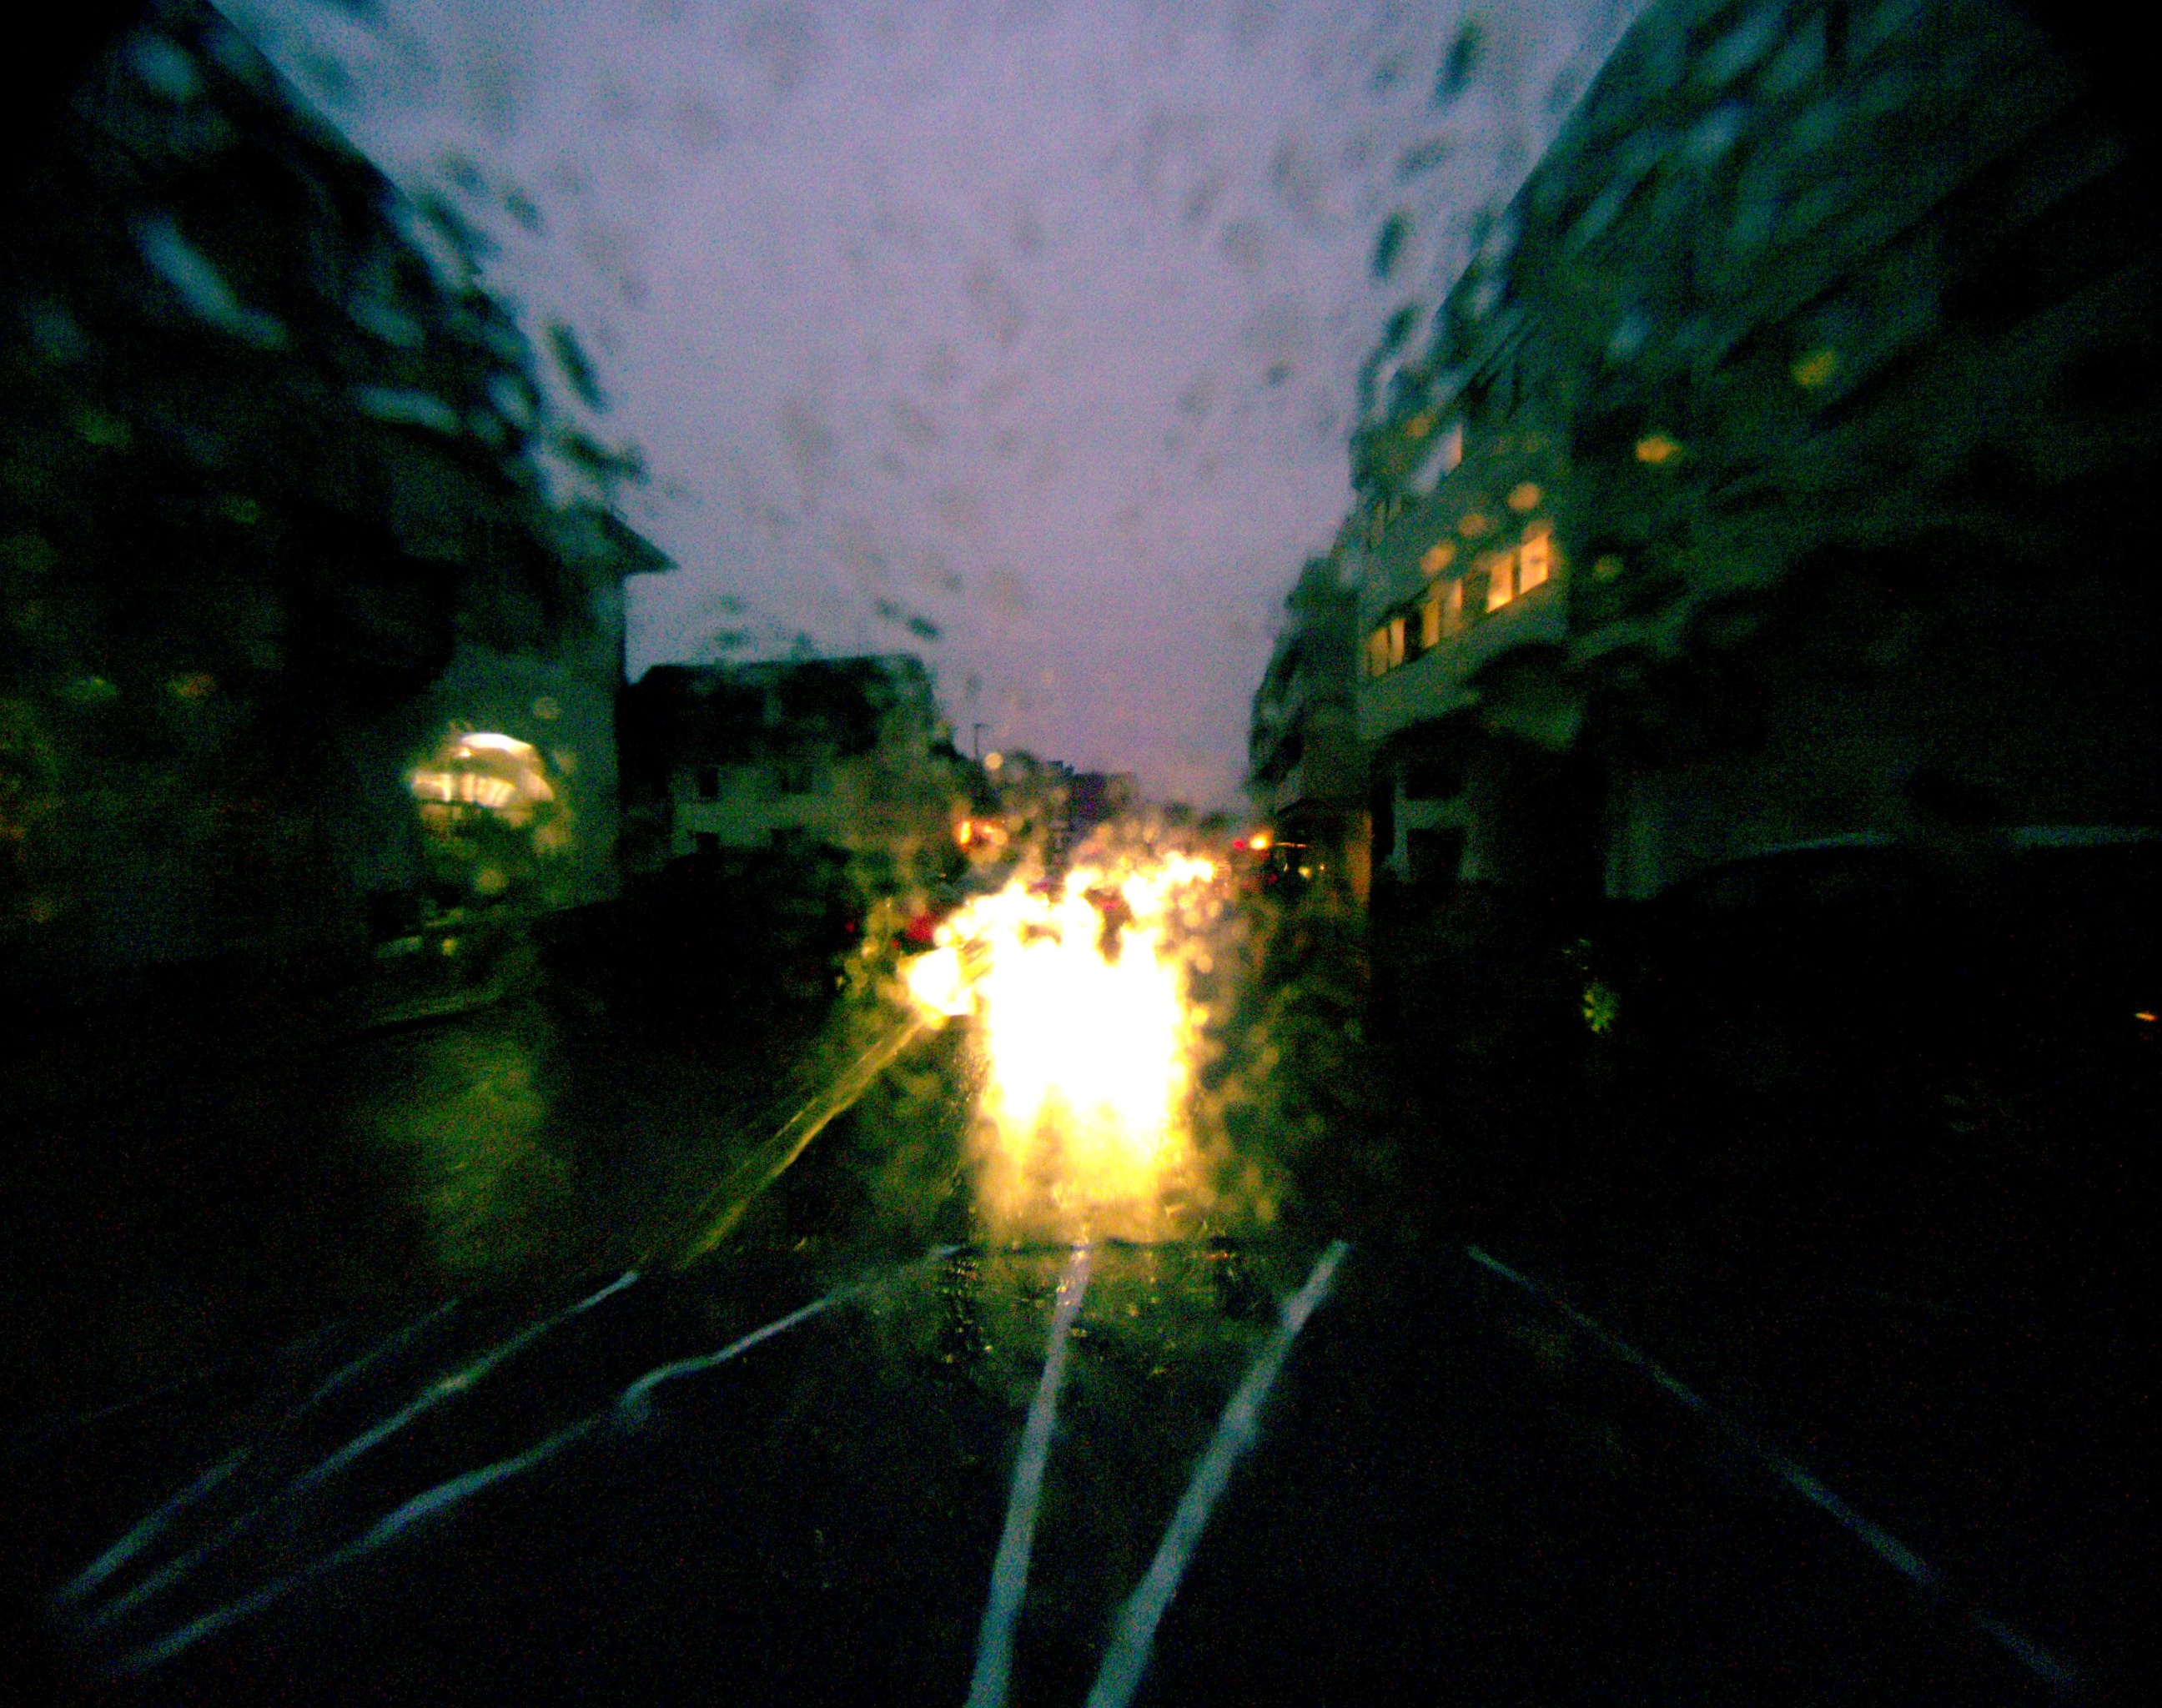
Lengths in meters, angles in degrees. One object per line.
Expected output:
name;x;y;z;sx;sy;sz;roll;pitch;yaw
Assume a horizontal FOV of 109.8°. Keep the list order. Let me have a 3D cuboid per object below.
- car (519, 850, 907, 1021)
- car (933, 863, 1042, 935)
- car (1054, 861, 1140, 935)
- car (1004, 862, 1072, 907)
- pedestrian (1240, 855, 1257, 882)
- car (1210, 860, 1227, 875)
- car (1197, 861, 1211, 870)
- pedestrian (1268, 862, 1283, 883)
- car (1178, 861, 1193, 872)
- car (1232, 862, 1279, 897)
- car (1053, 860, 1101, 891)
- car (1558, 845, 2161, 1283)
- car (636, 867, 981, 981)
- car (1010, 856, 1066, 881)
car;-3.912;0.853;8.596;3.514;1.671;1.715;2;0;-4
car;-2.178;1.023;19.068;1.886;1.538;4.672;1;0;3
car;0.486;0.980;18.579;1.878;1.622;4.001;0;0;4
car;-1.503;1.076;28.339;1.798;1.452;4.533;2;0;6
pedestrian;12.413;1.063;56.334;1.200;1.926;0.978;0;0;16
car;15.381;1.504;84.974;1.724;1.604;3.819;-2;-1;10
car;21.431;1.989;132.588;1.796;1.501;4.005;2;0;17
pedestrian;12.121;1.133;47.303;0.757;1.302;0.829;-1;0;7
car;15.518;1.833;112.611;1.797;1.501;4.004;2;0;13
car;7.914;1.122;34.767;1.678;1.438;4.431;-2;0;7
car;-0.132;1.057;38.971;1.826;1.414;4.611;2;0;8
car;4.995;0.797;4.623;1.799;1.633;3.812;-2;0;1
car;-3.874;0.981;11.419;4.478;1.464;1.898;1;0;0
car;-2.785;0.910;49.743;3.295;1.433;1.687;3;1;8
